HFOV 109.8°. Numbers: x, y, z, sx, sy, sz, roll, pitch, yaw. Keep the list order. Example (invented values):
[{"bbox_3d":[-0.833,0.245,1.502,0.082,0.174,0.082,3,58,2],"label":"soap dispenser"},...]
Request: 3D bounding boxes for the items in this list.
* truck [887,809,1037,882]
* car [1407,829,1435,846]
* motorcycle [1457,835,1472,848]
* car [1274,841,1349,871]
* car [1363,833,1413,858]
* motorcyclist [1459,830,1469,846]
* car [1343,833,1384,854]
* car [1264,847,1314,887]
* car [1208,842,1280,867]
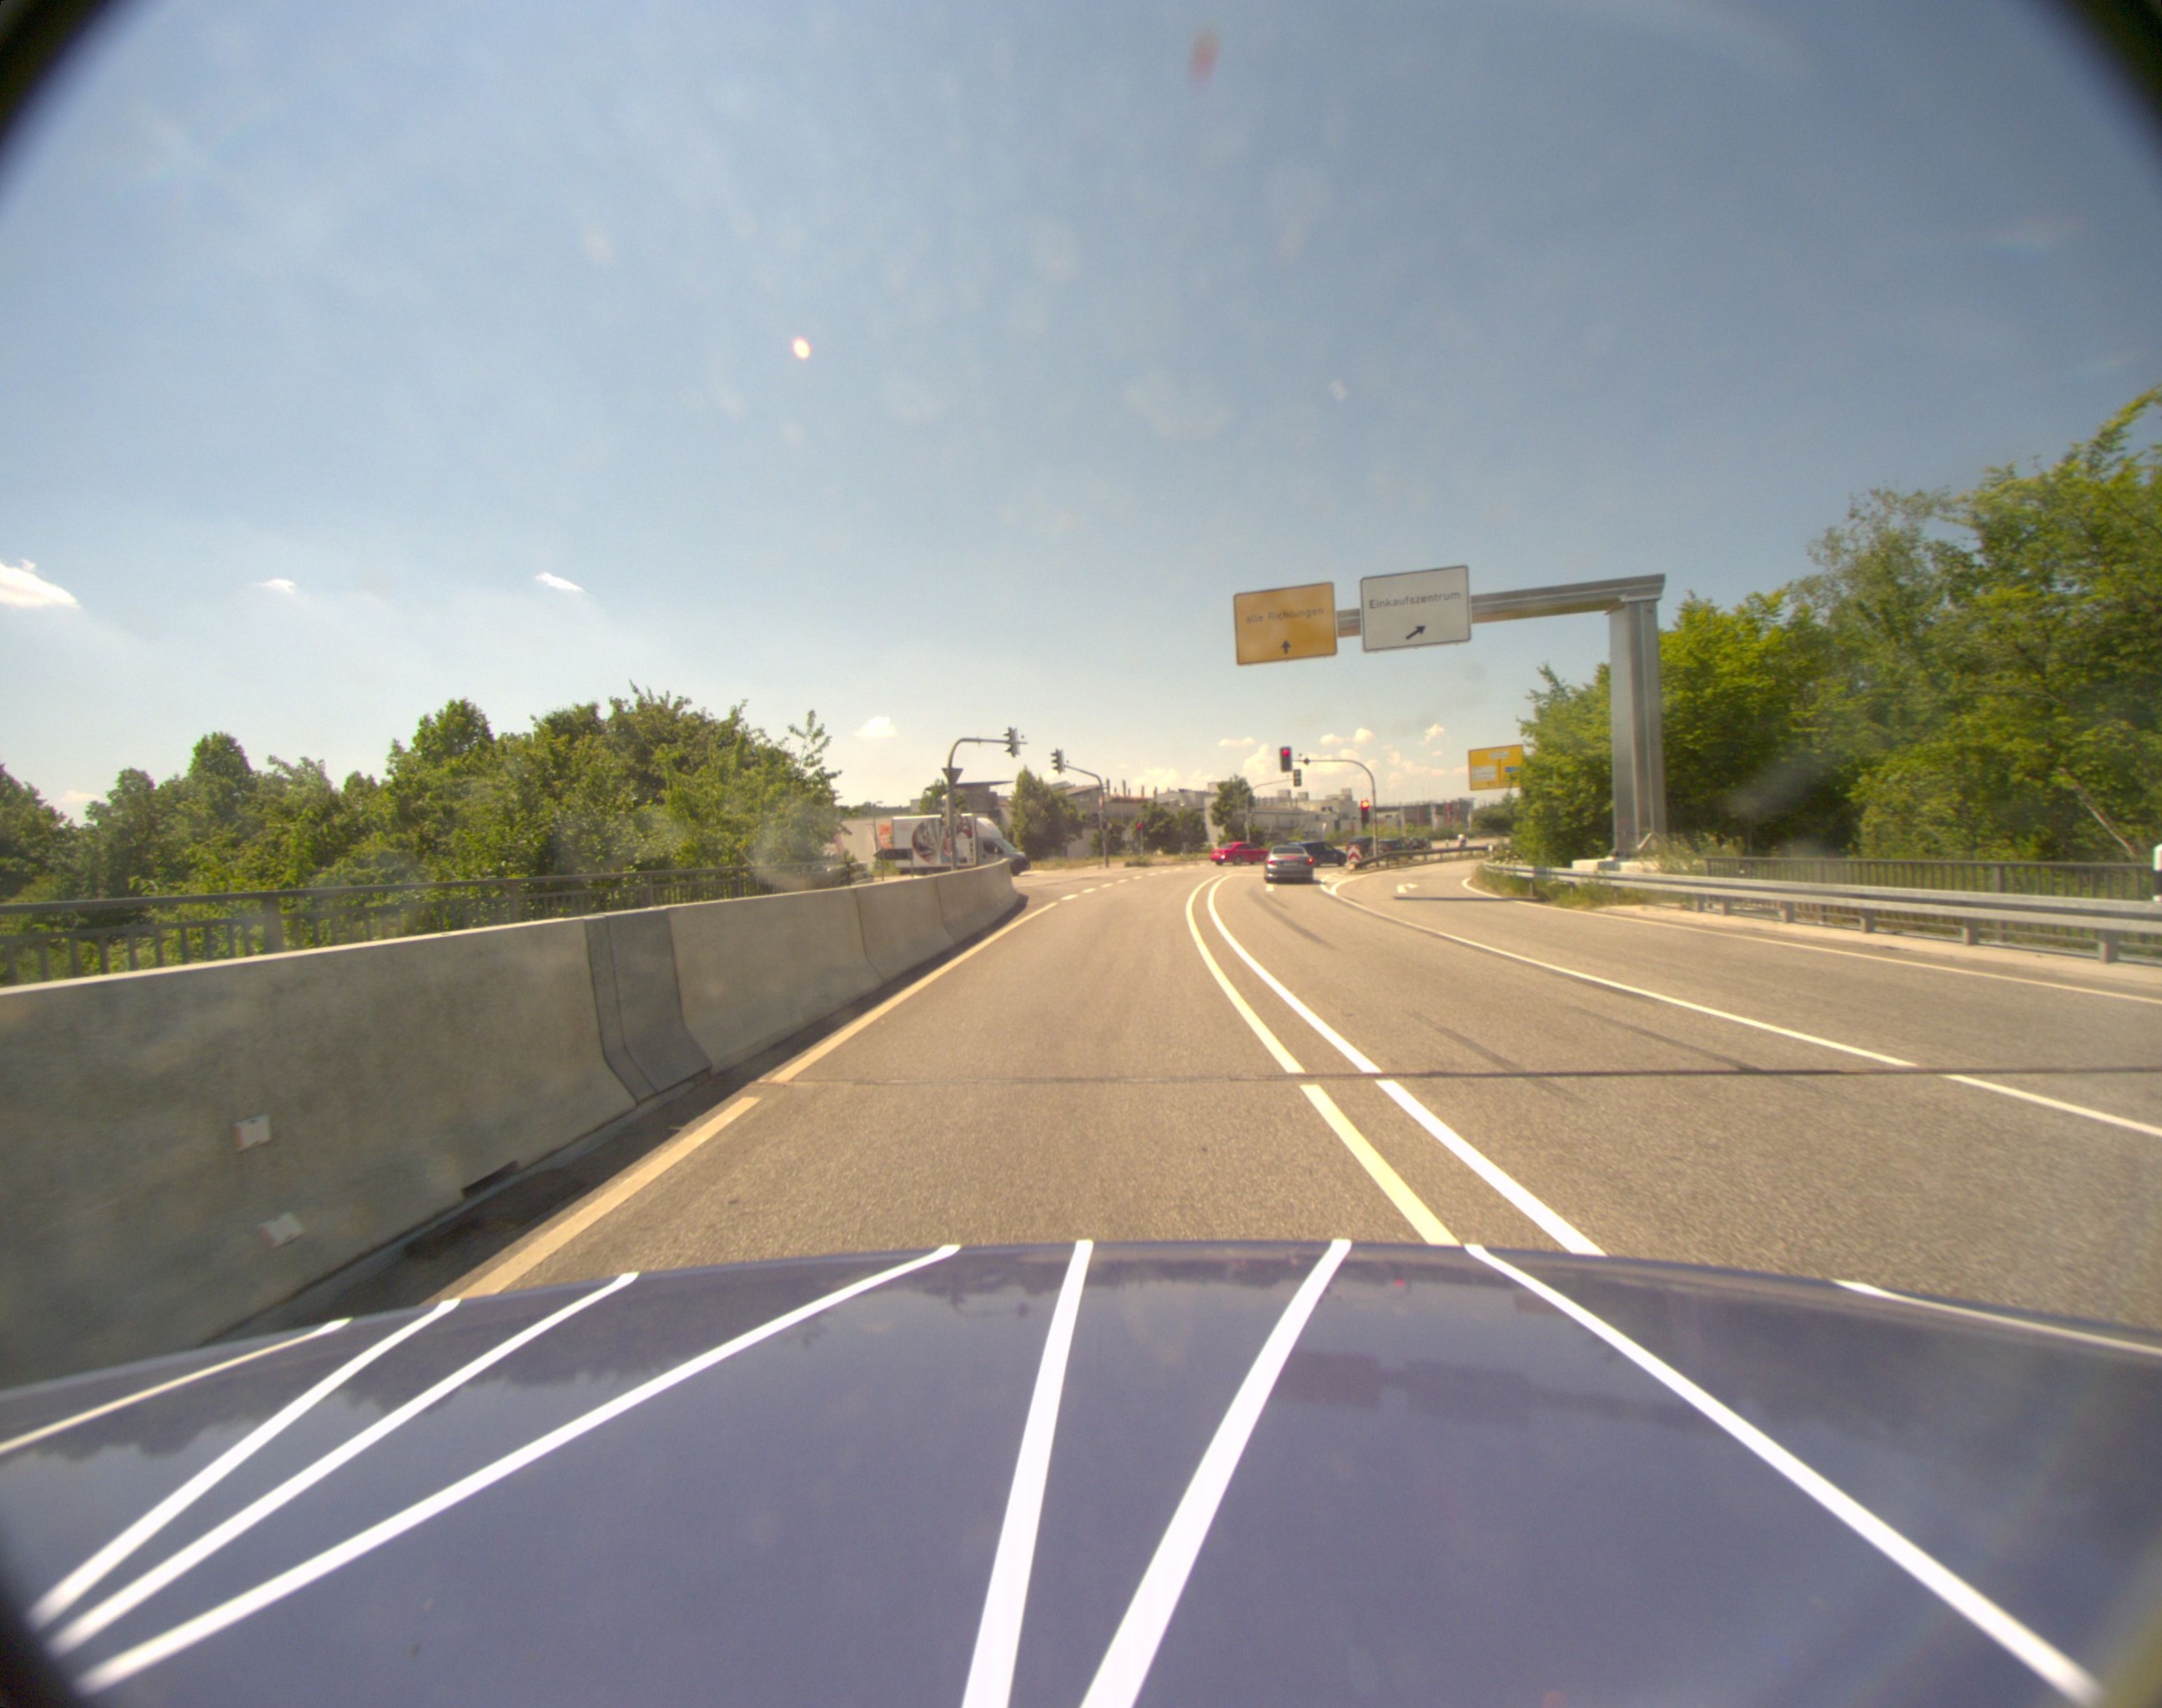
[{"bbox_3d":[-6.240,-0.471,40.198,7.191,3.330,2.416,-3,4,12],"label":"truck"},{"bbox_3d":[31.539,-1.542,70.412,1.619,1.400,3.306,4,6,36],"label":"car"},{"bbox_3d":[38.954,-1.307,77.180,1.944,1.232,0.576,-5,5,-39],"label":"motorcycle"},{"bbox_3d":[13.021,0.069,42.726,4.497,1.454,1.708,-3,3,-37],"label":"car"},{"bbox_3d":[20.930,-0.624,51.720,1.778,1.475,4.437,4,5,41],"label":"car"},{"bbox_3d":[38.904,-1.611,77.125,0.848,1.532,0.611,-6,6,-39],"label":"motorcyclist"},{"bbox_3d":[22.584,-0.881,60.649,1.875,1.592,4.514,3,3,37],"label":"car"},{"bbox_3d":[7.922,0.450,29.178,1.648,1.344,3.972,1,1,13],"label":"car"},{"bbox_3d":[10.187,0.015,47.300,4.457,1.381,1.661,-2,3,-32],"label":"car"}]
